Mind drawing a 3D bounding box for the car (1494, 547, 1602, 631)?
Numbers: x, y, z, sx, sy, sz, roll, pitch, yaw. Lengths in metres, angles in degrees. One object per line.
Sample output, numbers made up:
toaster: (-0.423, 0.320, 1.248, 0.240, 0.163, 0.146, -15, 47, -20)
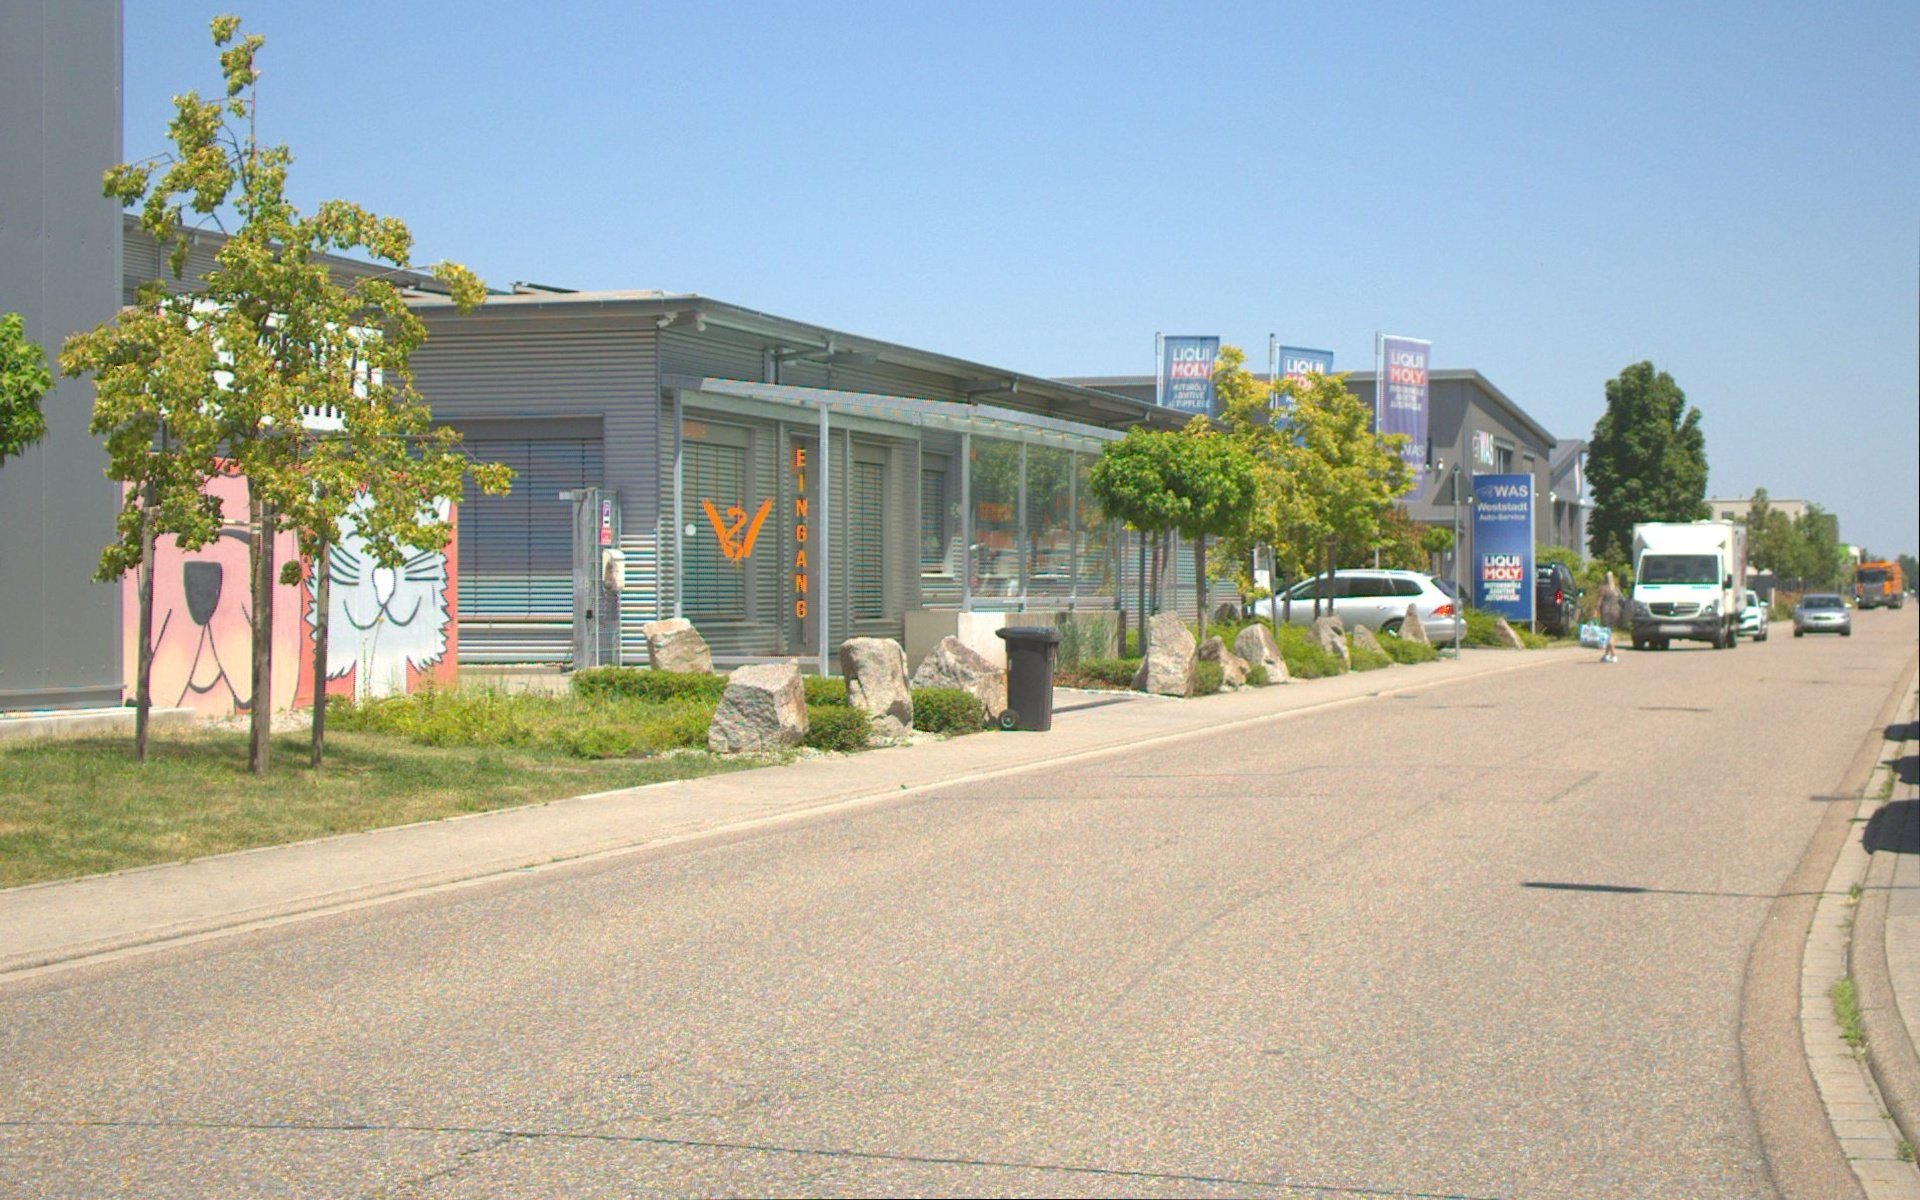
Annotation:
car: (14.345, -0.243, 83.669, 1.995, 1.950, 5.214, 1, 0, 16)

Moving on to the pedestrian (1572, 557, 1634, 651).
pedestrian: (11.013, 0.061, 58.880, 0.900, 1.569, 0.785, 3, 1, 17)

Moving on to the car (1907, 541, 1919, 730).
car: (9.662, 0.281, 31.536, 1.806, 1.630, 4.455, -1, 0, 16)

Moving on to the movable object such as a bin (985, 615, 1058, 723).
movable object such as a bin: (0.562, 0.620, 31.169, 0.571, 0.946, 0.512, 1, 0, 11)

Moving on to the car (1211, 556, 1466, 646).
car: (6.755, 0.014, 61.312, 4.265, 1.513, 1.865, 1, 0, 15)

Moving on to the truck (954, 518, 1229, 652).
truck: (3.620, -0.458, 96.754, 2.579, 3.545, 8.059, 1, 1, -45)

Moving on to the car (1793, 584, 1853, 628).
car: (28.908, 0.217, 115.093, 1.784, 1.417, 4.410, -2, -1, 16)

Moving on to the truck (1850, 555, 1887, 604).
truck: (67.484, -1.521, 255.260, 2.450, 3.501, 8.266, -1, 0, 16)

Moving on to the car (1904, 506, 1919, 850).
car: (6.355, 0.354, 18.938, 2.145, 1.693, 4.781, -1, 0, 16)

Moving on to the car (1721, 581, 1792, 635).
car: (22.647, 0.231, 97.664, 1.731, 1.453, 4.488, 1, 0, 16)

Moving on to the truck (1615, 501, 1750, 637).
truck: (16.205, -0.627, 76.842, 2.363, 2.850, 6.410, -2, -1, 17)
